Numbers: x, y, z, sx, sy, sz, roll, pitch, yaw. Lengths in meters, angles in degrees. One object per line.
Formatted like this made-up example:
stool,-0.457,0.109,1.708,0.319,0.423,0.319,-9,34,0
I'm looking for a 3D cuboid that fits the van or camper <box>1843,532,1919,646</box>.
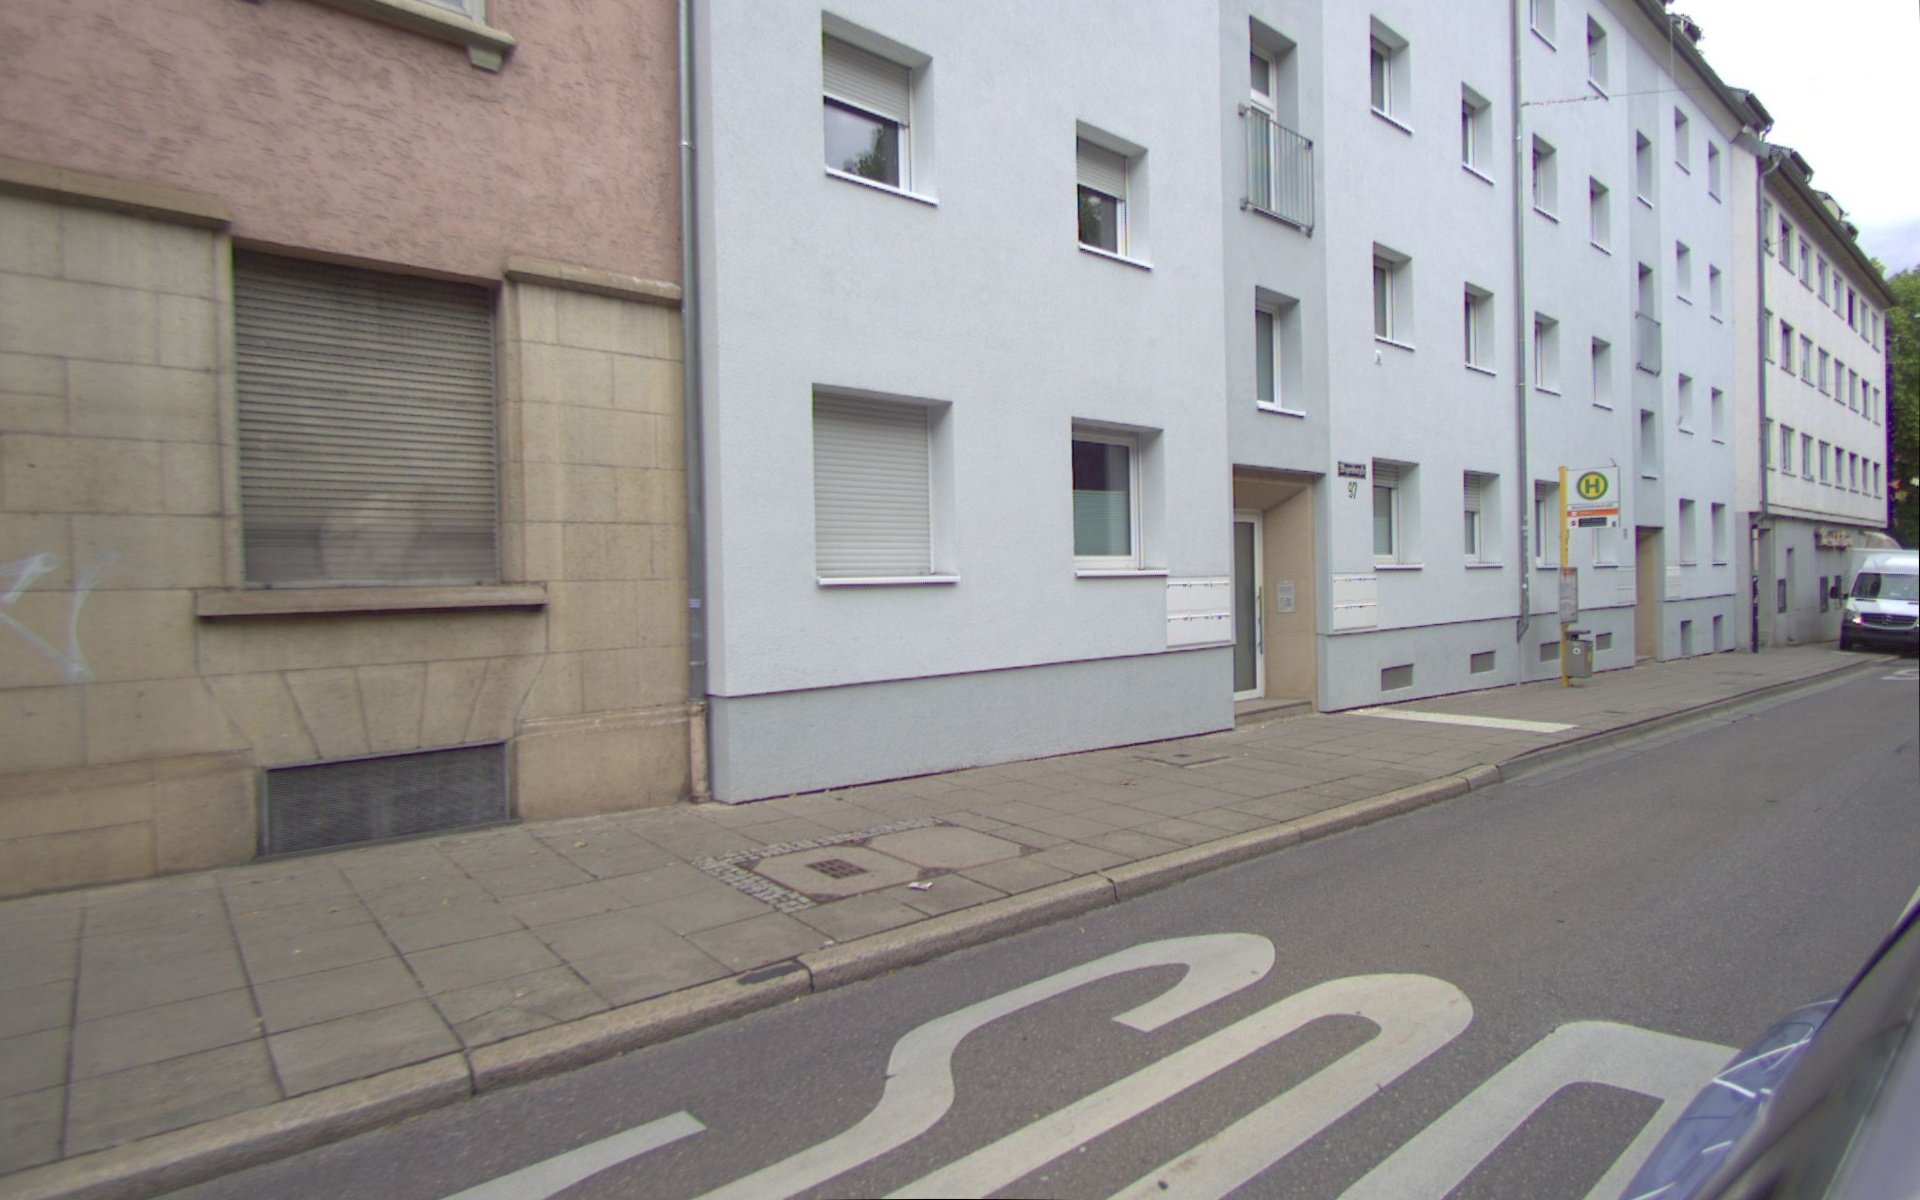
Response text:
van or camper,26.339,-0.317,27.788,7.117,2.838,2.482,-1,0,-43
